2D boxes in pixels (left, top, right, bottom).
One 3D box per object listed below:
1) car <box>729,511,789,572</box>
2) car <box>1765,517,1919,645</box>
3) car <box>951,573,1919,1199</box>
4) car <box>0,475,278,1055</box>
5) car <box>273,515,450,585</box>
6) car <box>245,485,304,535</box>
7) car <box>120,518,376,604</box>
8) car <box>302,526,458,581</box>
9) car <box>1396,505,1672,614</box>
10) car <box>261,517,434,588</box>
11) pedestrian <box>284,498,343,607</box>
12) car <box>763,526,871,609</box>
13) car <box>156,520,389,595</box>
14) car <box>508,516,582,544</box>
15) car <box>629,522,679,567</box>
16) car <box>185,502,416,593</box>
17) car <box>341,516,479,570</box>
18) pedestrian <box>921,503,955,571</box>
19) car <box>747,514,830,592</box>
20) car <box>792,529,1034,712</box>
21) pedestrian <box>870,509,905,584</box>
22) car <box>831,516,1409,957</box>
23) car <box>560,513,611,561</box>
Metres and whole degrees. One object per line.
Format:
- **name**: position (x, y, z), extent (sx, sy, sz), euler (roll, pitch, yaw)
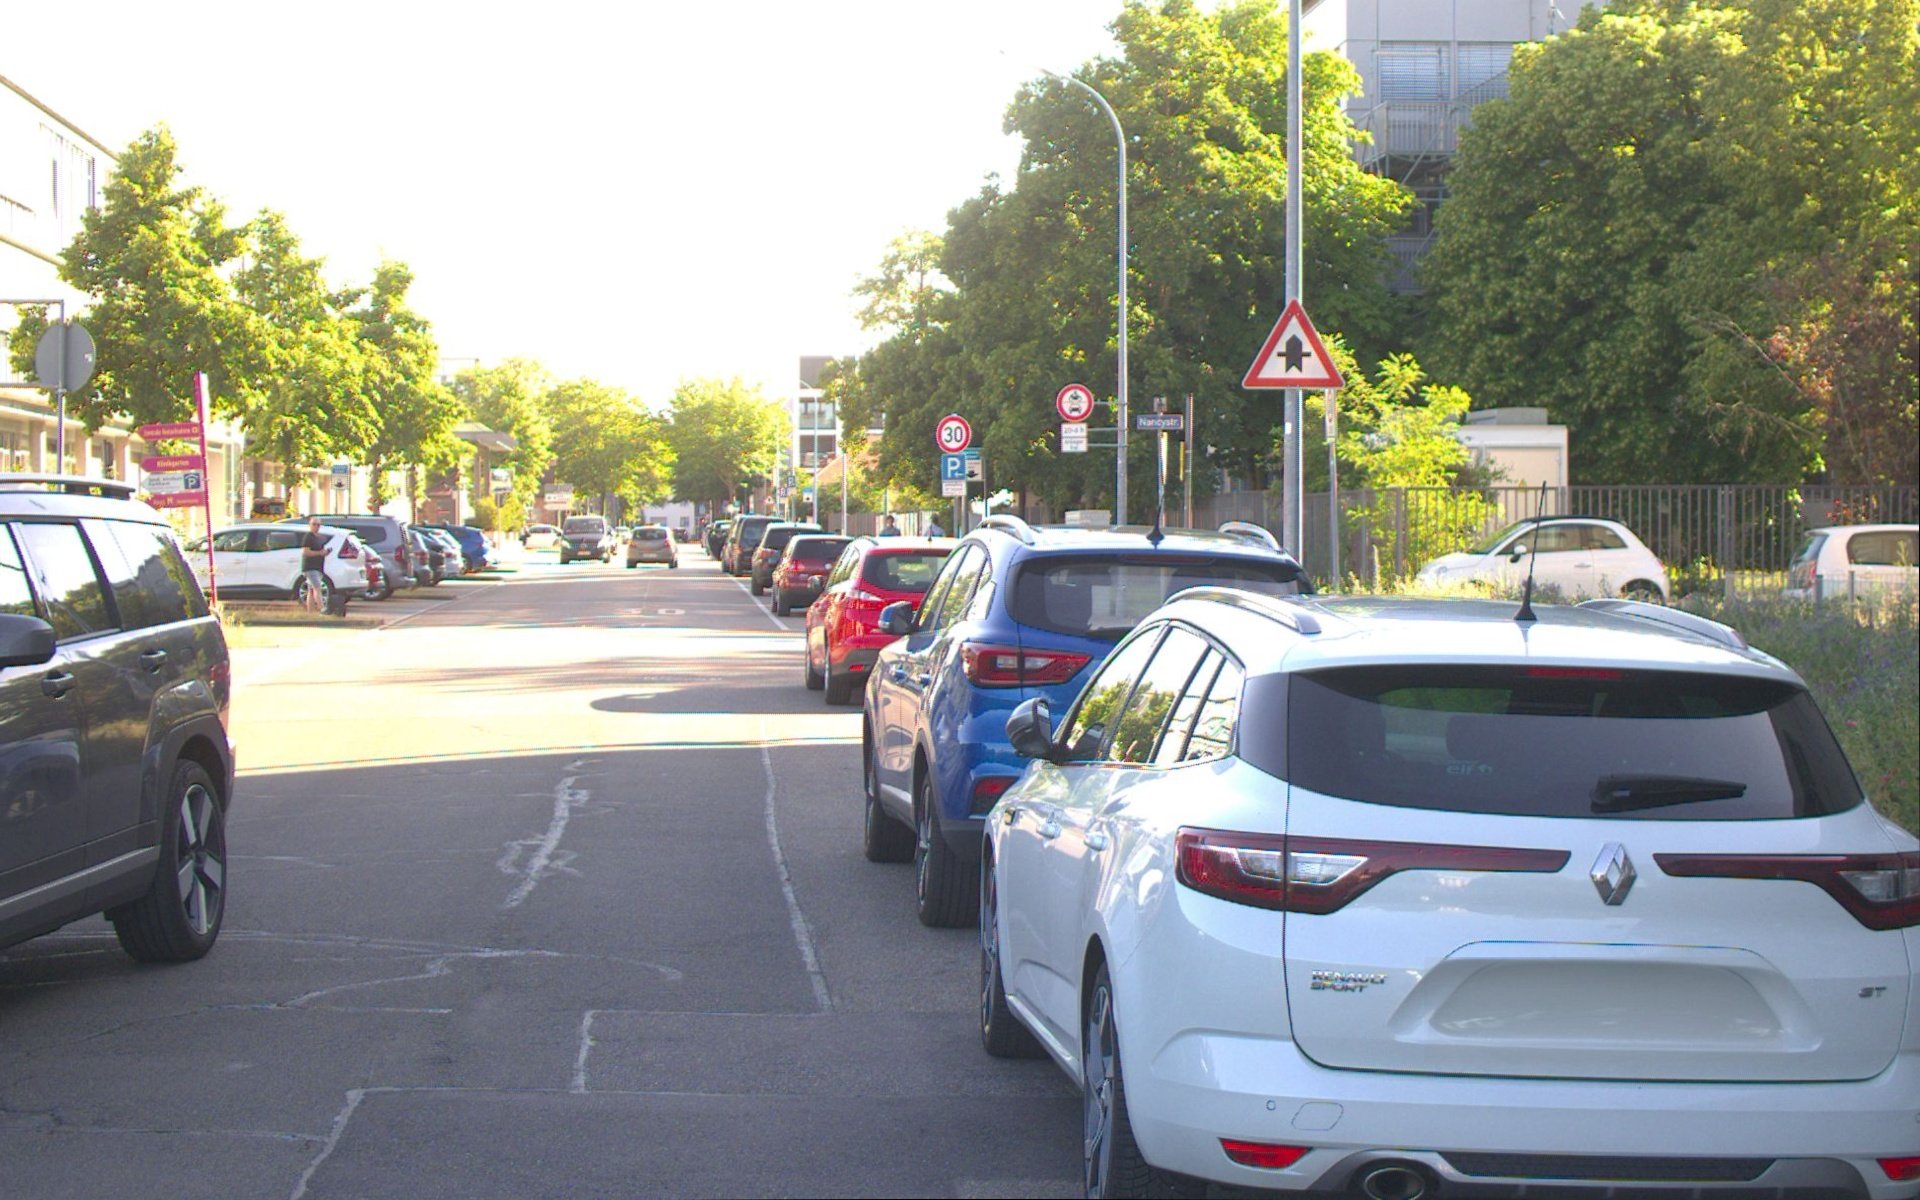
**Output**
- **car**: position (-6.134, -1.798, 104.595), extent (1.732, 1.824, 3.906), euler (0, 1, -4)
- **car**: position (11.270, -0.237, 40.151), extent (3.326, 1.453, 1.715), euler (0, 1, 0)
- **car**: position (1.030, 0.700, 8.822), extent (1.744, 1.424, 4.586), euler (2, 1, -4)
- **car**: position (-3.780, 0.481, 10.961), extent (1.943, 1.721, 4.838), euler (-1, 1, 4)
- **car**: position (-14.764, -1.239, 84.982), extent (4.245, 1.606, 2.049), euler (1, 1, -8)
- **car**: position (-29.017, -3.796, 145.618), extent (1.993, 2.007, 4.001), euler (0, 0, -5)
- **car**: position (-13.777, -0.762, 66.689), extent (4.611, 1.645, 1.868), euler (0, 1, -1)
- **car**: position (-15.237, -1.221, 90.479), extent (3.986, 1.354, 1.744), euler (1, 1, -8)
- **car**: position (8.015, -0.584, 48.186), extent (3.546, 1.481, 1.600), euler (0, 1, -4)
- **car**: position (-14.588, -1.134, 82.034), extent (3.986, 1.601, 1.872), euler (1, 1, -8)
- **pedestrian**: position (-11.171, -0.825, 59.436), extent (0.857, 1.836, 0.826), euler (2, 1, -3)
- **car**: position (-2.690, -0.626, 63.744), extent (1.719, 1.450, 4.653), euler (1, 1, -5)
- **car**: position (-13.843, -0.857, 69.413), extent (4.433, 1.496, 1.828), euler (0, 1, -4)
- **car**: position (-23.035, -3.866, 191.079), extent (3.986, 1.514, 2.000), euler (0, 0, -4)
- **car**: position (-10.812, -1.971, 121.557), extent (1.743, 1.538, 4.001), euler (0, 1, -5)
- **car**: position (-14.350, -1.146, 75.034), extent (4.741, 1.858, 1.828), euler (1, 1, -4)
- **car**: position (-17.199, -1.797, 107.646), extent (4.213, 1.597, 1.872), euler (1, 1, -8)
- **pedestrian**: position (-0.550, -1.564, 85.408), extent (0.698, 1.655, 0.752), euler (-3, 1, -5)
- **car**: position (-4.000, -1.112, 79.728), extent (1.812, 1.660, 4.593), euler (1, 2, -4)
- **car**: position (-0.504, 0.131, 31.336), extent (1.818, 1.494, 4.453), euler (1, 1, -5)
- **pedestrian**: position (-1.730, -1.285, 82.295), extent (0.717, 1.752, 0.885), euler (-2, 2, -4)
- **car**: position (0.512, 0.457, 15.025), extent (1.816, 1.594, 4.628), euler (1, 1, -6)
- **car**: position (-14.857, -2.497, 136.427), extent (1.954, 1.861, 5.256), euler (0, 1, -6)
